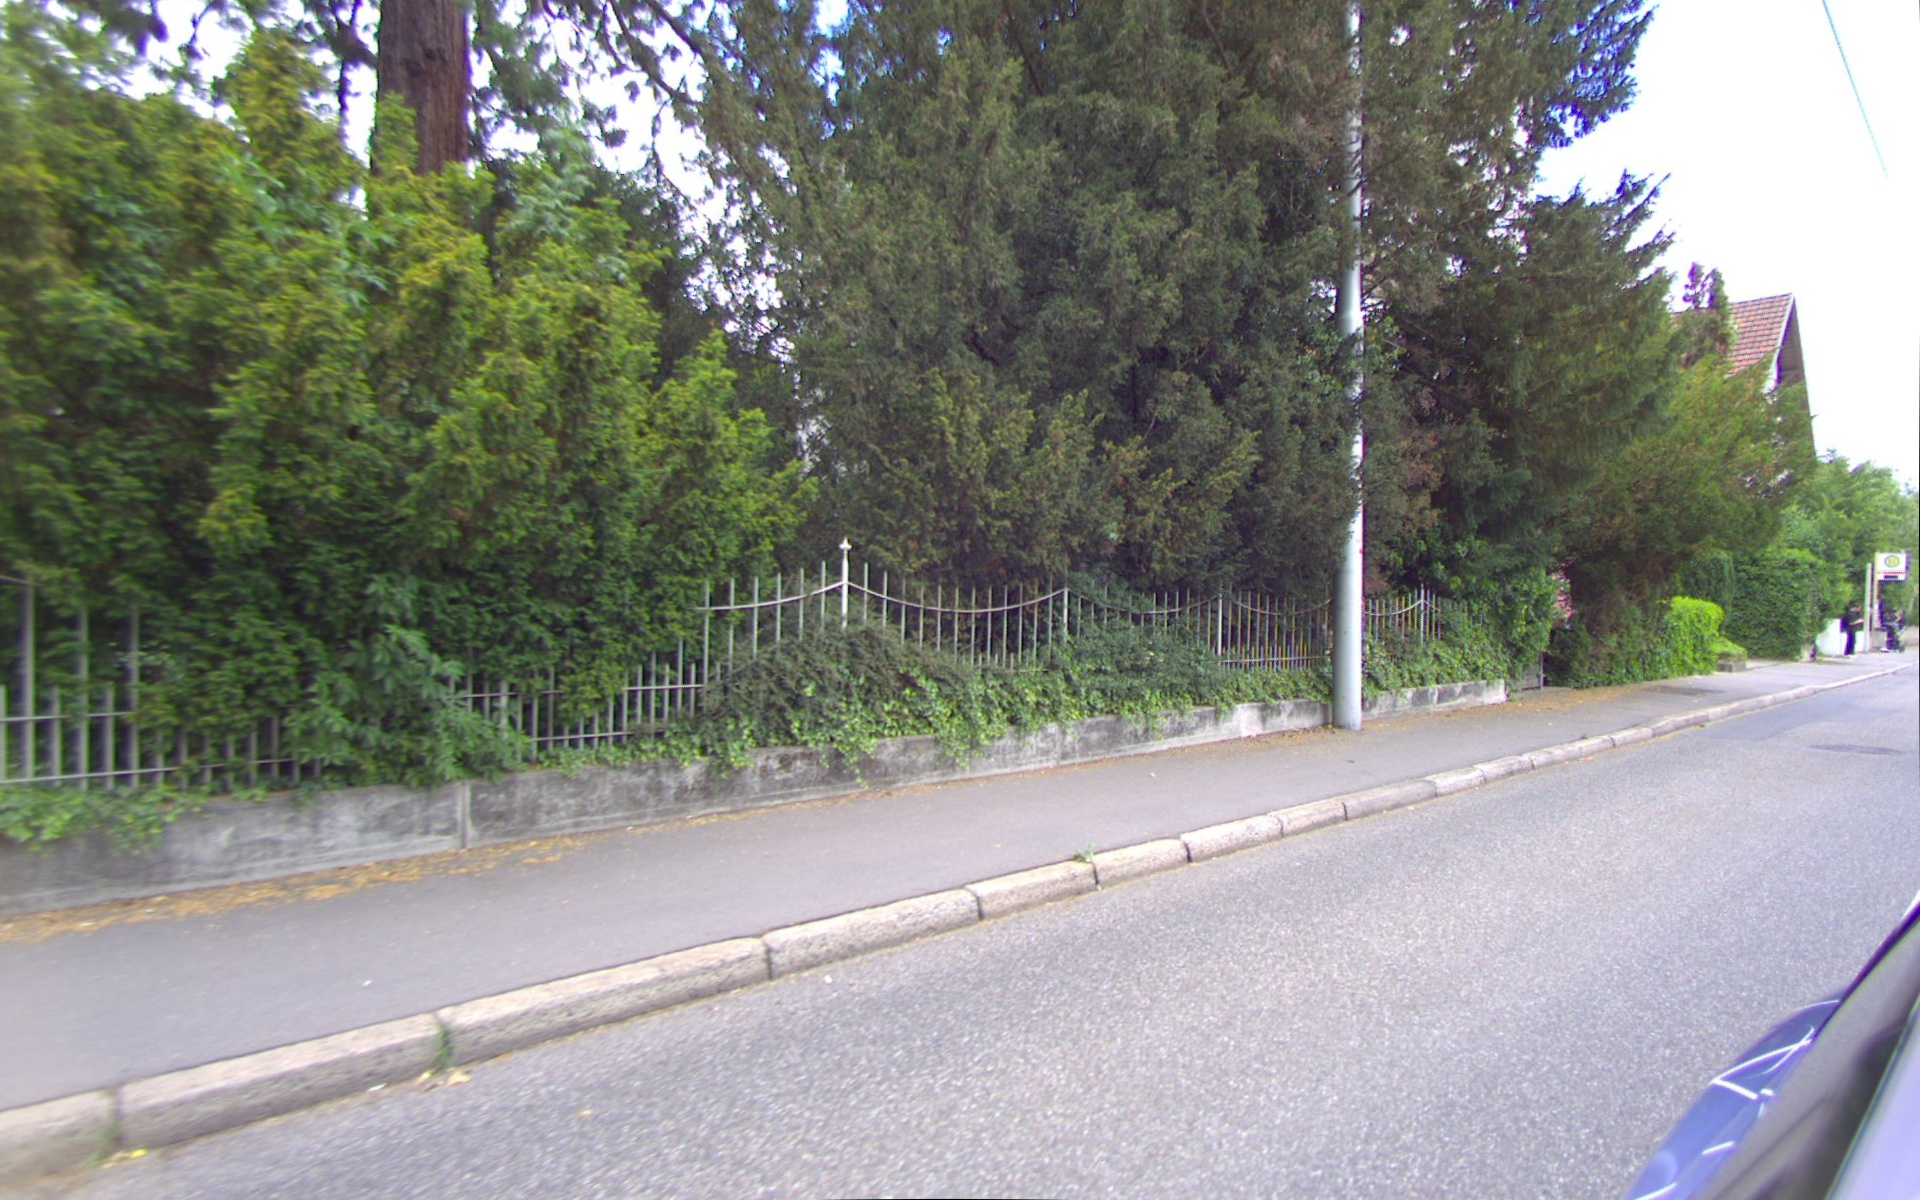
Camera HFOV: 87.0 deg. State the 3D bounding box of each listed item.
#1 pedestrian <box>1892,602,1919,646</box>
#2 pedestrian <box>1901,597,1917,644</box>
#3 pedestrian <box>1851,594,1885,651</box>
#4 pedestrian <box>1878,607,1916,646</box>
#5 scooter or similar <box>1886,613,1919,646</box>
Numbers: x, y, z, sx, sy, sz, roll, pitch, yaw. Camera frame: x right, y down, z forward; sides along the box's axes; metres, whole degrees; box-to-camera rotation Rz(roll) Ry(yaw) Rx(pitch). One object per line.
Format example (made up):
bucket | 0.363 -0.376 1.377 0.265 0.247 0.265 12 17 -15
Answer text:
pedestrian | 34.947 0.885 37.325 0.736 1.553 0.661 0 4 -42
pedestrian | 36.809 0.779 39.256 0.344 1.776 0.489 6 4 45
pedestrian | 28.706 0.711 31.991 0.657 1.789 0.491 0 0 -9
pedestrian | 33.511 0.938 36.203 0.914 1.266 0.777 6 4 44
scooter or similar | 34.341 1.078 36.744 0.842 1.110 0.479 4 3 2
